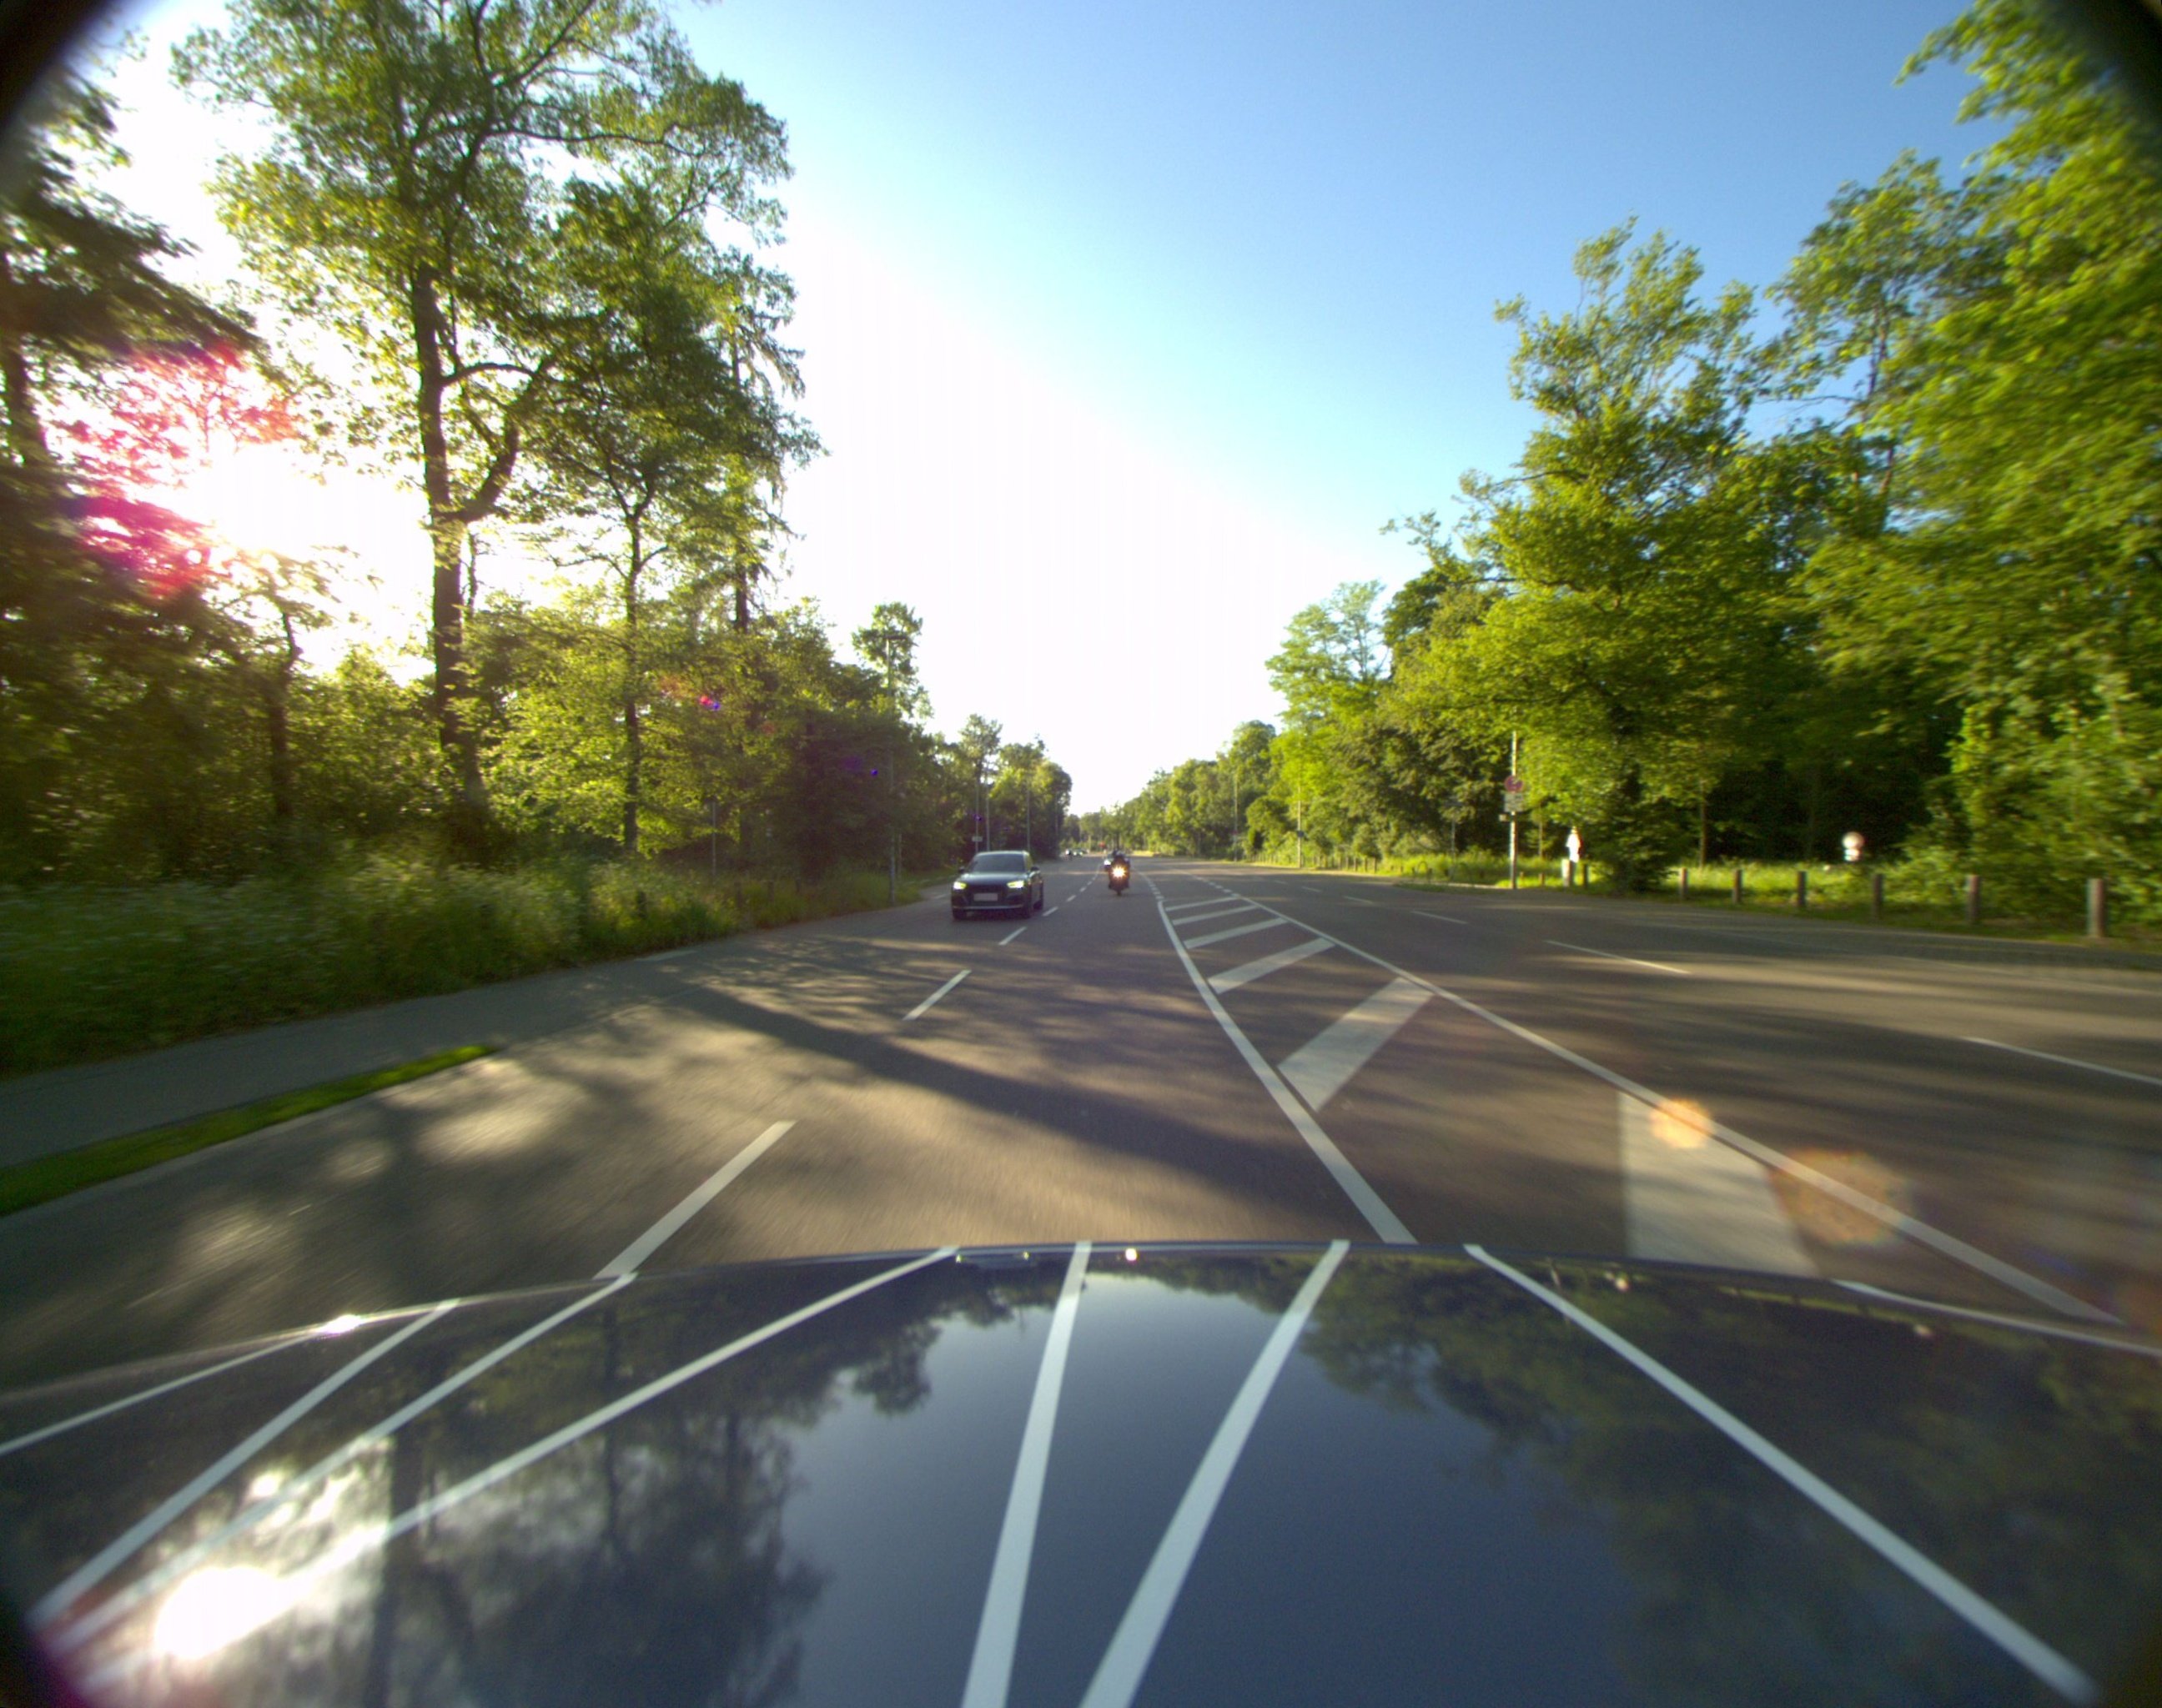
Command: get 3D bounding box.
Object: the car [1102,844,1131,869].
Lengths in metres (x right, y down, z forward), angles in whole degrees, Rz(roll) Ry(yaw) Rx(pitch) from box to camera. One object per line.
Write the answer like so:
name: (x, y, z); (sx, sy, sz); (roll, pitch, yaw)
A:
car: (2.646, 0.136, 56.096); (1.998, 1.761, 4.232); (-1, 1, 3)

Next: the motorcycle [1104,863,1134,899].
motorcycle: (1.398, 0.935, 27.352); (0.956, 1.098, 3.340); (-3, 0, 4)

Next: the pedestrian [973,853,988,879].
pedestrian: (-5.919, 0.701, 44.818); (0.642, 1.510, 0.760); (-3, 1, 2)

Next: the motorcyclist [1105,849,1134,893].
motorcyclist: (1.394, 0.608, 27.476); (0.952, 1.523, 1.074); (-2, 1, 4)

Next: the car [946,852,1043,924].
car: (-2.108, 0.789, 19.651); (1.861, 1.609, 4.000); (-1, 1, 3)
